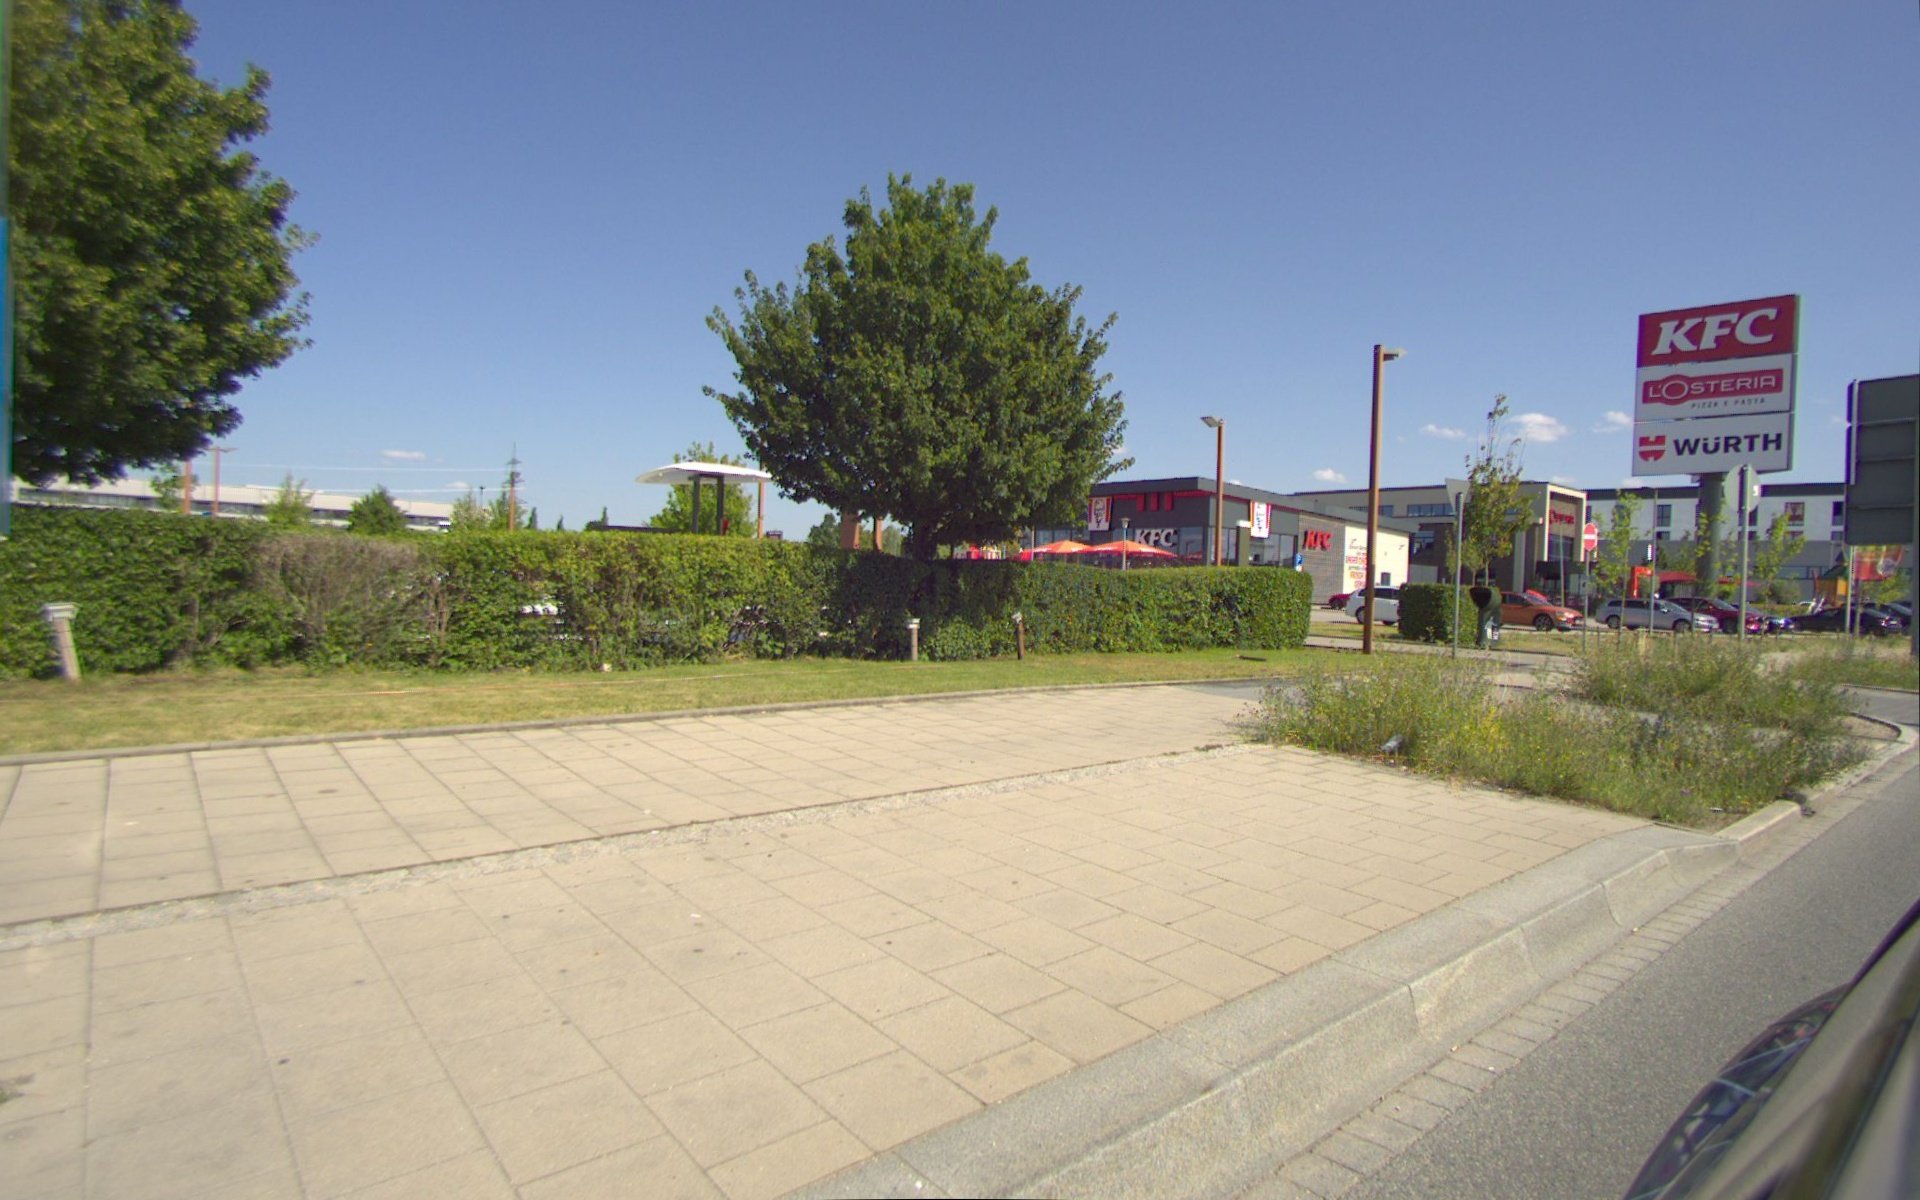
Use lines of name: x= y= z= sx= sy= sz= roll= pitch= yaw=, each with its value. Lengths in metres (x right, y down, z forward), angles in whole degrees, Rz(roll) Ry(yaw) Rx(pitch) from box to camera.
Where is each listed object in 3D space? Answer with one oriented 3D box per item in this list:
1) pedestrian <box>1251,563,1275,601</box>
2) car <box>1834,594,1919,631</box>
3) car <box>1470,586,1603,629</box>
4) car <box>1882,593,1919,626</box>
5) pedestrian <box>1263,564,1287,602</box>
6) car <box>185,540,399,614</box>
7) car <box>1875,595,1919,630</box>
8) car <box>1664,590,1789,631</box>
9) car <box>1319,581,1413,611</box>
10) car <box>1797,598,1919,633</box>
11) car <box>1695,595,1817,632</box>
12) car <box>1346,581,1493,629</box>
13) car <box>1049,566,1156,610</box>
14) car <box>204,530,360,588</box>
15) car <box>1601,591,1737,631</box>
pedestrian: x=16.556 y=-0.963 z=55.287 sx=0.874 sy=2.039 sz=0.916 roll=1 pitch=1 yaw=-36
car: x=48.808 y=0.659 z=52.844 sx=1.753 sy=1.756 sz=4.431 roll=2 pitch=2 yaw=-21
car: x=22.893 y=0.278 z=40.357 sx=1.832 sy=1.509 sz=4.222 roll=1 pitch=1 yaw=-32
car: x=54.335 y=0.630 z=55.650 sx=1.899 sy=1.756 sz=5.010 roll=2 pitch=2 yaw=-23
pedestrian: x=17.476 y=-0.952 z=56.126 sx=0.874 sy=2.039 sz=0.916 roll=1 pitch=1 yaw=-36
car: x=-16.011 y=-0.559 z=24.439 sx=3.918 sy=1.624 sz=1.802 roll=1 pitch=1 yaw=-8
car: x=51.739 y=0.721 z=53.642 sx=1.753 sy=1.756 sz=4.431 roll=2 pitch=2 yaw=-21
car: x=35.526 y=0.457 z=47.026 sx=1.830 sy=1.686 sz=4.176 roll=2 pitch=2 yaw=-24
car: x=22.869 y=-0.242 z=57.115 sx=1.835 sy=1.449 sz=4.567 roll=1 pitch=2 yaw=-39
car: x=44.826 y=0.754 z=50.449 sx=1.753 sy=1.467 sz=4.431 roll=2 pitch=2 yaw=-22
car: x=37.848 y=0.624 z=48.208 sx=1.755 sy=1.467 sz=4.173 roll=2 pitch=2 yaw=-30
car: x=16.537 y=0.132 z=36.662 sx=1.832 sy=1.509 sz=4.545 roll=1 pitch=2 yaw=-32
car: x=5.723 y=-0.527 z=41.062 sx=1.759 sy=1.655 sz=4.165 roll=1 pitch=2 yaw=-40
car: x=-21.983 y=-1.310 z=32.904 sx=3.926 sy=1.723 sz=1.798 roll=2 pitch=1 yaw=2
car: x=31.390 y=0.443 z=44.960 sx=1.830 sy=1.508 sz=4.578 roll=2 pitch=2 yaw=-28
